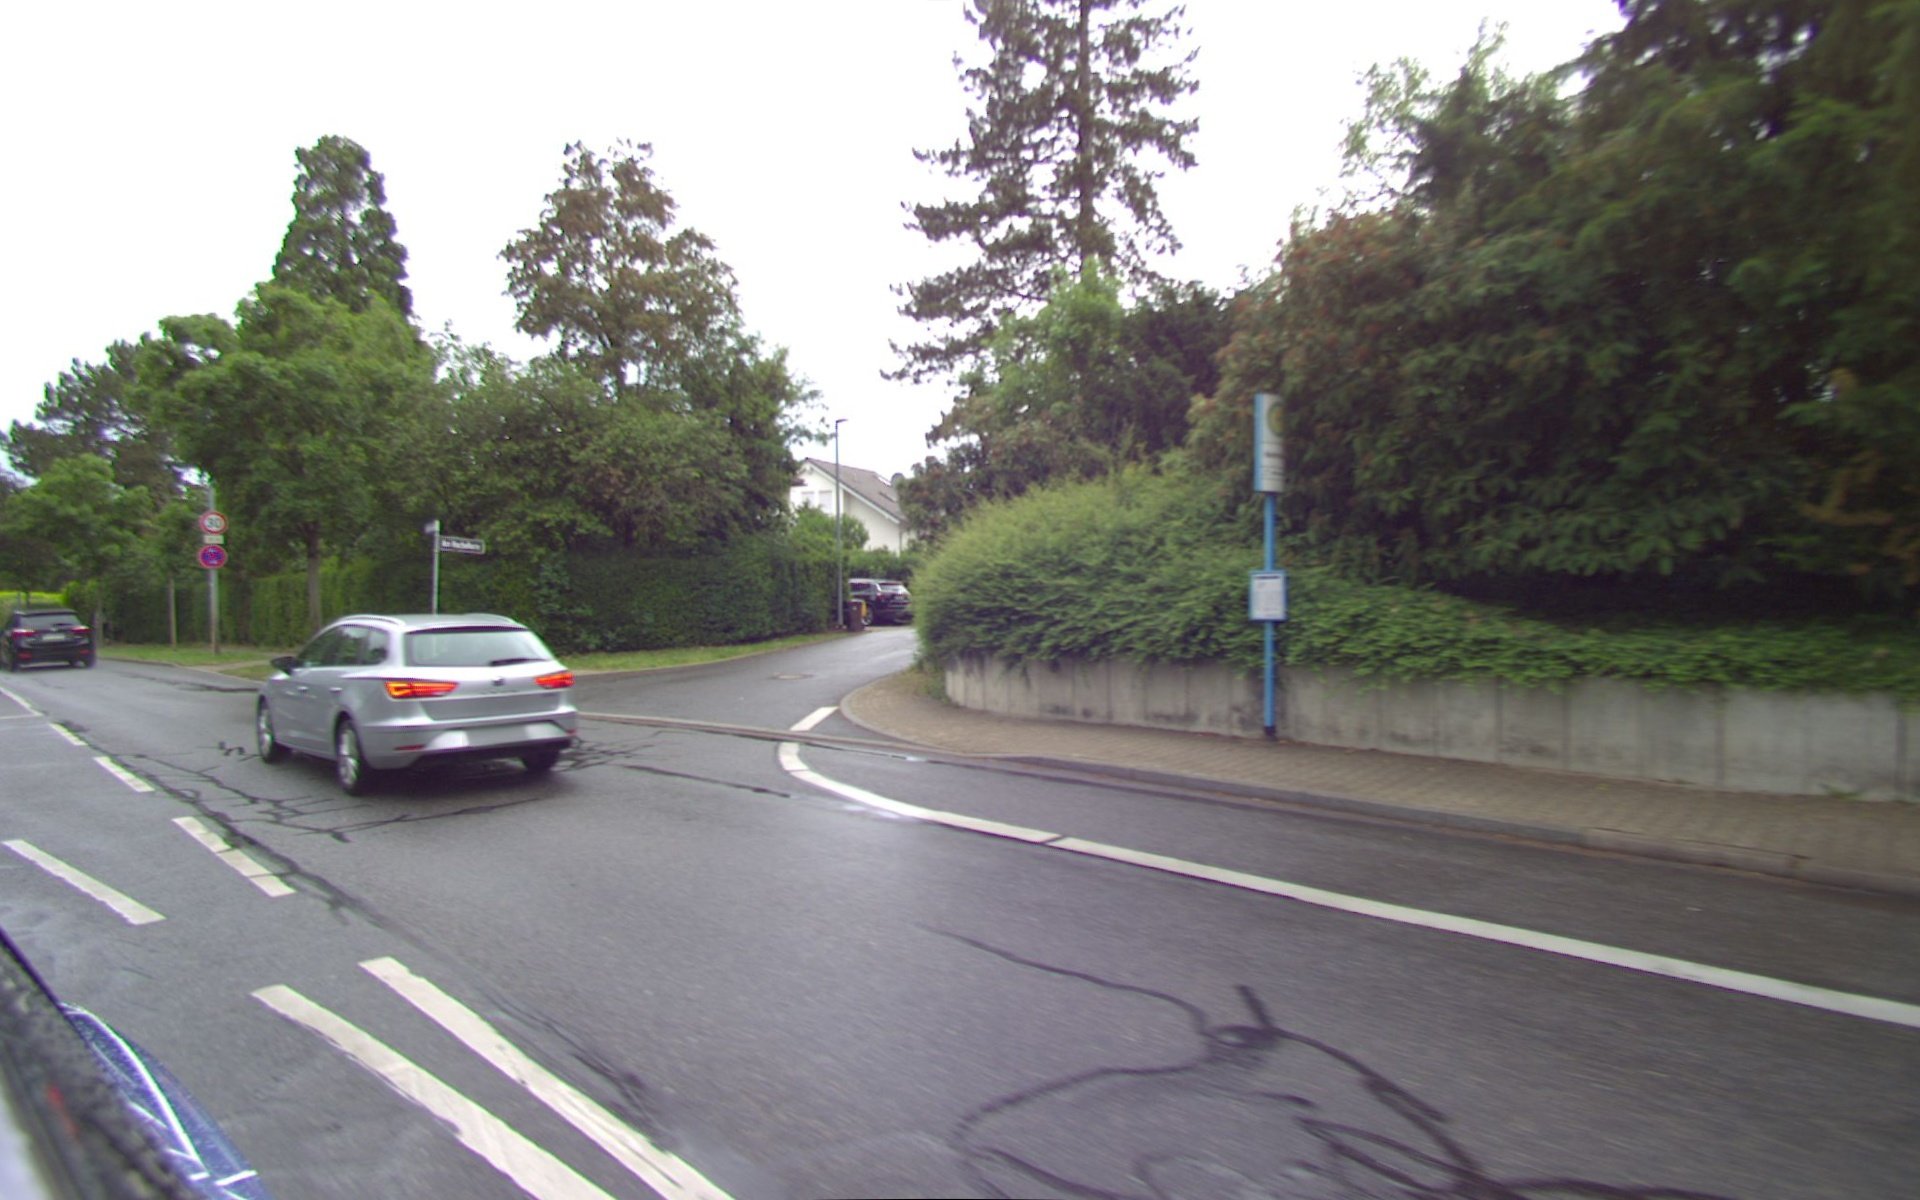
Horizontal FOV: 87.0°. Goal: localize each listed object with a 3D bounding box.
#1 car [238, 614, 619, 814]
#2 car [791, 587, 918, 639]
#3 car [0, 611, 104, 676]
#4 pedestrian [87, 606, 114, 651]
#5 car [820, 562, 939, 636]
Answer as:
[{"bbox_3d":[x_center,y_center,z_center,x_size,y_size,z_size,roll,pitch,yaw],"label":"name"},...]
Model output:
[{"bbox_3d":[-5.095,0.873,9.414,4.358,1.433,1.771,-1,-2,43],"label":"car"},{"bbox_3d":[-3.752,0.473,35.881,4.134,1.728,1.833,-2,0,26],"label":"car"},{"bbox_3d":[-25.088,1.147,27.566,3.996,1.589,1.974,-2,0,39],"label":"car"},{"bbox_3d":[-36.622,1.228,43.101,0.703,1.844,0.882,-5,2,-44],"label":"pedestrian"},{"bbox_3d":[-3.041,-0.049,38.105,3.981,2.599,1.981,-2,1,28],"label":"car"}]
